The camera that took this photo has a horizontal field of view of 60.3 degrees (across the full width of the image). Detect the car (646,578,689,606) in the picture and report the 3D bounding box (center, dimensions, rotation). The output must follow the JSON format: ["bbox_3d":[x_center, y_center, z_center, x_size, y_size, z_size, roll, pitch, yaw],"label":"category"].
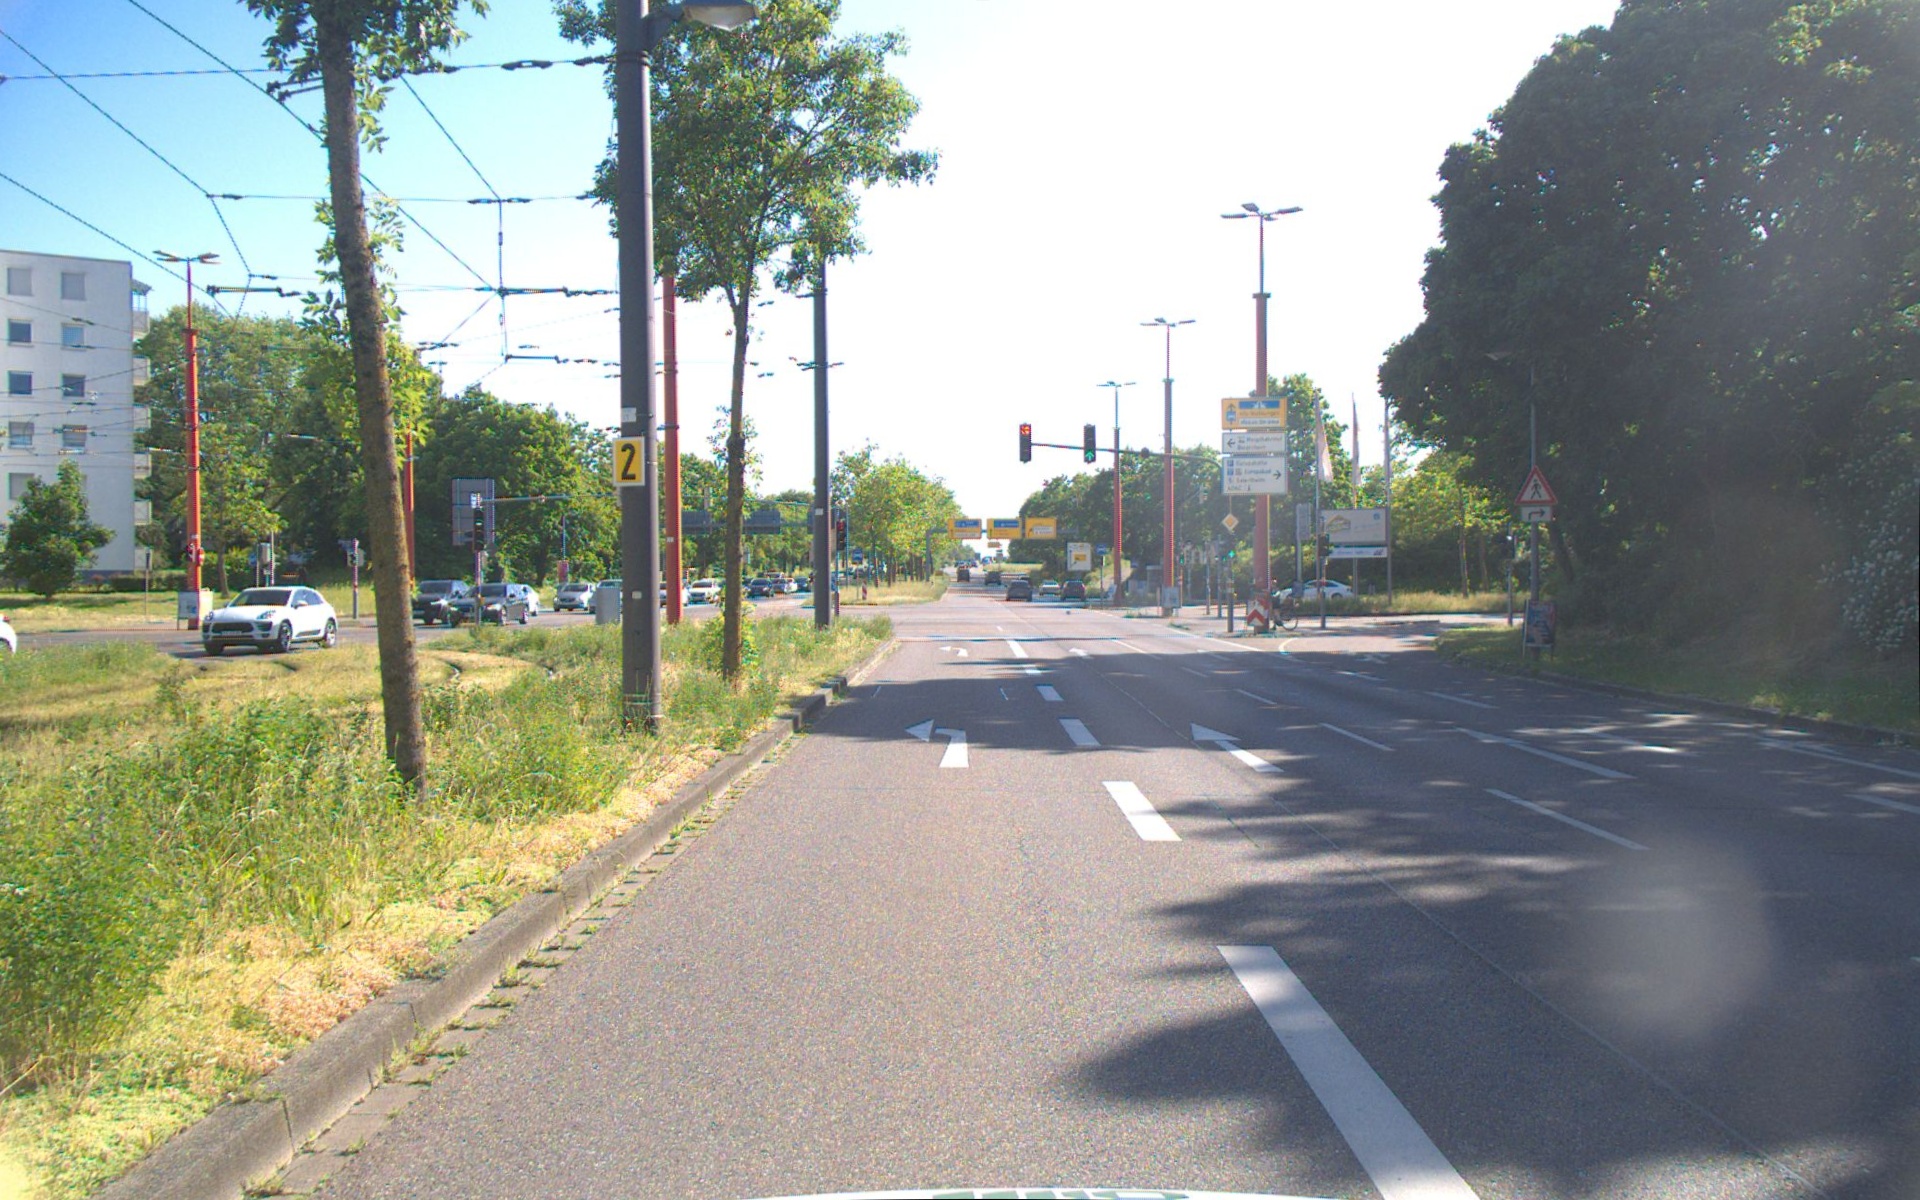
[{"bbox_3d":[-16.652,-0.481,94.304,1.556,1.498,4.184,-2,1,1],"label":"car"}]

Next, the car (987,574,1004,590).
[{"bbox_3d":[4.653,-2.348,215.065,2.110,2.049,4.000,0,0,0],"label":"car"}]

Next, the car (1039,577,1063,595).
[{"bbox_3d":[8.130,-1.270,148.548,1.953,1.567,4.000,1,0,0],"label":"car"}]

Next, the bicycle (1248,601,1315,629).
[{"bbox_3d":[10.561,0.489,54.349,2.123,0.894,0.558,1,0,-12],"label":"bicycle"}]

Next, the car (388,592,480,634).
[{"bbox_3d":[-19.970,0.453,63.008,1.952,1.506,4.632,1,0,1],"label":"car"}]

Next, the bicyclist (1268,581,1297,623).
[{"bbox_3d":[10.572,0.064,54.293,0.726,1.365,0.706,1,0,-10],"label":"bicyclist"}]

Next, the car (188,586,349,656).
[{"bbox_3d":[-17.251,0.486,41.529,1.855,1.650,4.659,1,0,3],"label":"car"}]

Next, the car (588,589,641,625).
[{"bbox_3d":[-16.560,0.319,79.407,1.726,1.636,3.758,-1,0,1],"label":"car"}]

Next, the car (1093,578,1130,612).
[{"bbox_3d":[8.723,-0.315,94.878,1.951,1.920,4.003,0,0,7],"label":"car"}]

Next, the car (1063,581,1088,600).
[{"bbox_3d":[8.656,-0.708,124.364,1.702,1.365,3.081,0,0,0],"label":"car"}]

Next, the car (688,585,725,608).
[{"bbox_3d":[-16.334,-0.227,106.547,1.669,1.447,4.643,-1,0,0],"label":"car"}]

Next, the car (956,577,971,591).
[{"bbox_3d":[0.496,-2.275,234.729,1.954,2.049,3.998,1,0,-3],"label":"car"}]

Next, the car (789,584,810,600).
[{"bbox_3d":[-15.426,-0.805,158.874,1.572,1.485,3.950,0,0,0],"label":"car"}]

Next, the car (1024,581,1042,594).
[{"bbox_3d":[8.679,-1.514,196.817,1.953,1.567,4.000,0,0,0],"label":"car"}]

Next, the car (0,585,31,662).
[{"bbox_3d":[-18.828,0.434,29.299,1.859,1.422,4.546,1,0,5],"label":"car"}]

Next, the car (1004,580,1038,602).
[{"bbox_3d":[4.331,-0.639,117.993,1.955,1.523,3.995,0,0,-6],"label":"car"}]

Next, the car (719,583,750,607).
[{"bbox_3d":[-17.154,-0.390,125.713,1.763,1.737,4.060,-1,0,0],"label":"car"}]

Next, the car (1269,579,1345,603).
[{"bbox_3d":[20.385,-0.515,97.086,4.284,1.395,2.062,0,0,15],"label":"car"}]

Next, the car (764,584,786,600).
[{"bbox_3d":[-16.660,-0.751,149.293,1.516,1.401,4.262,0,0,-1],"label":"car"}]

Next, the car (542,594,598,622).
[{"bbox_3d":[-20.534,0.399,87.183,1.953,1.398,4.400,1,0,-1],"label":"car"}]

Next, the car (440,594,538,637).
[{"bbox_3d":[-16.740,0.524,59.017,1.952,1.434,4.991,1,0,1],"label":"car"}]

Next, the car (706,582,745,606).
[{"bbox_3d":[-16.410,-0.460,116.099,1.952,1.622,4.465,-1,1,2],"label":"car"}]
